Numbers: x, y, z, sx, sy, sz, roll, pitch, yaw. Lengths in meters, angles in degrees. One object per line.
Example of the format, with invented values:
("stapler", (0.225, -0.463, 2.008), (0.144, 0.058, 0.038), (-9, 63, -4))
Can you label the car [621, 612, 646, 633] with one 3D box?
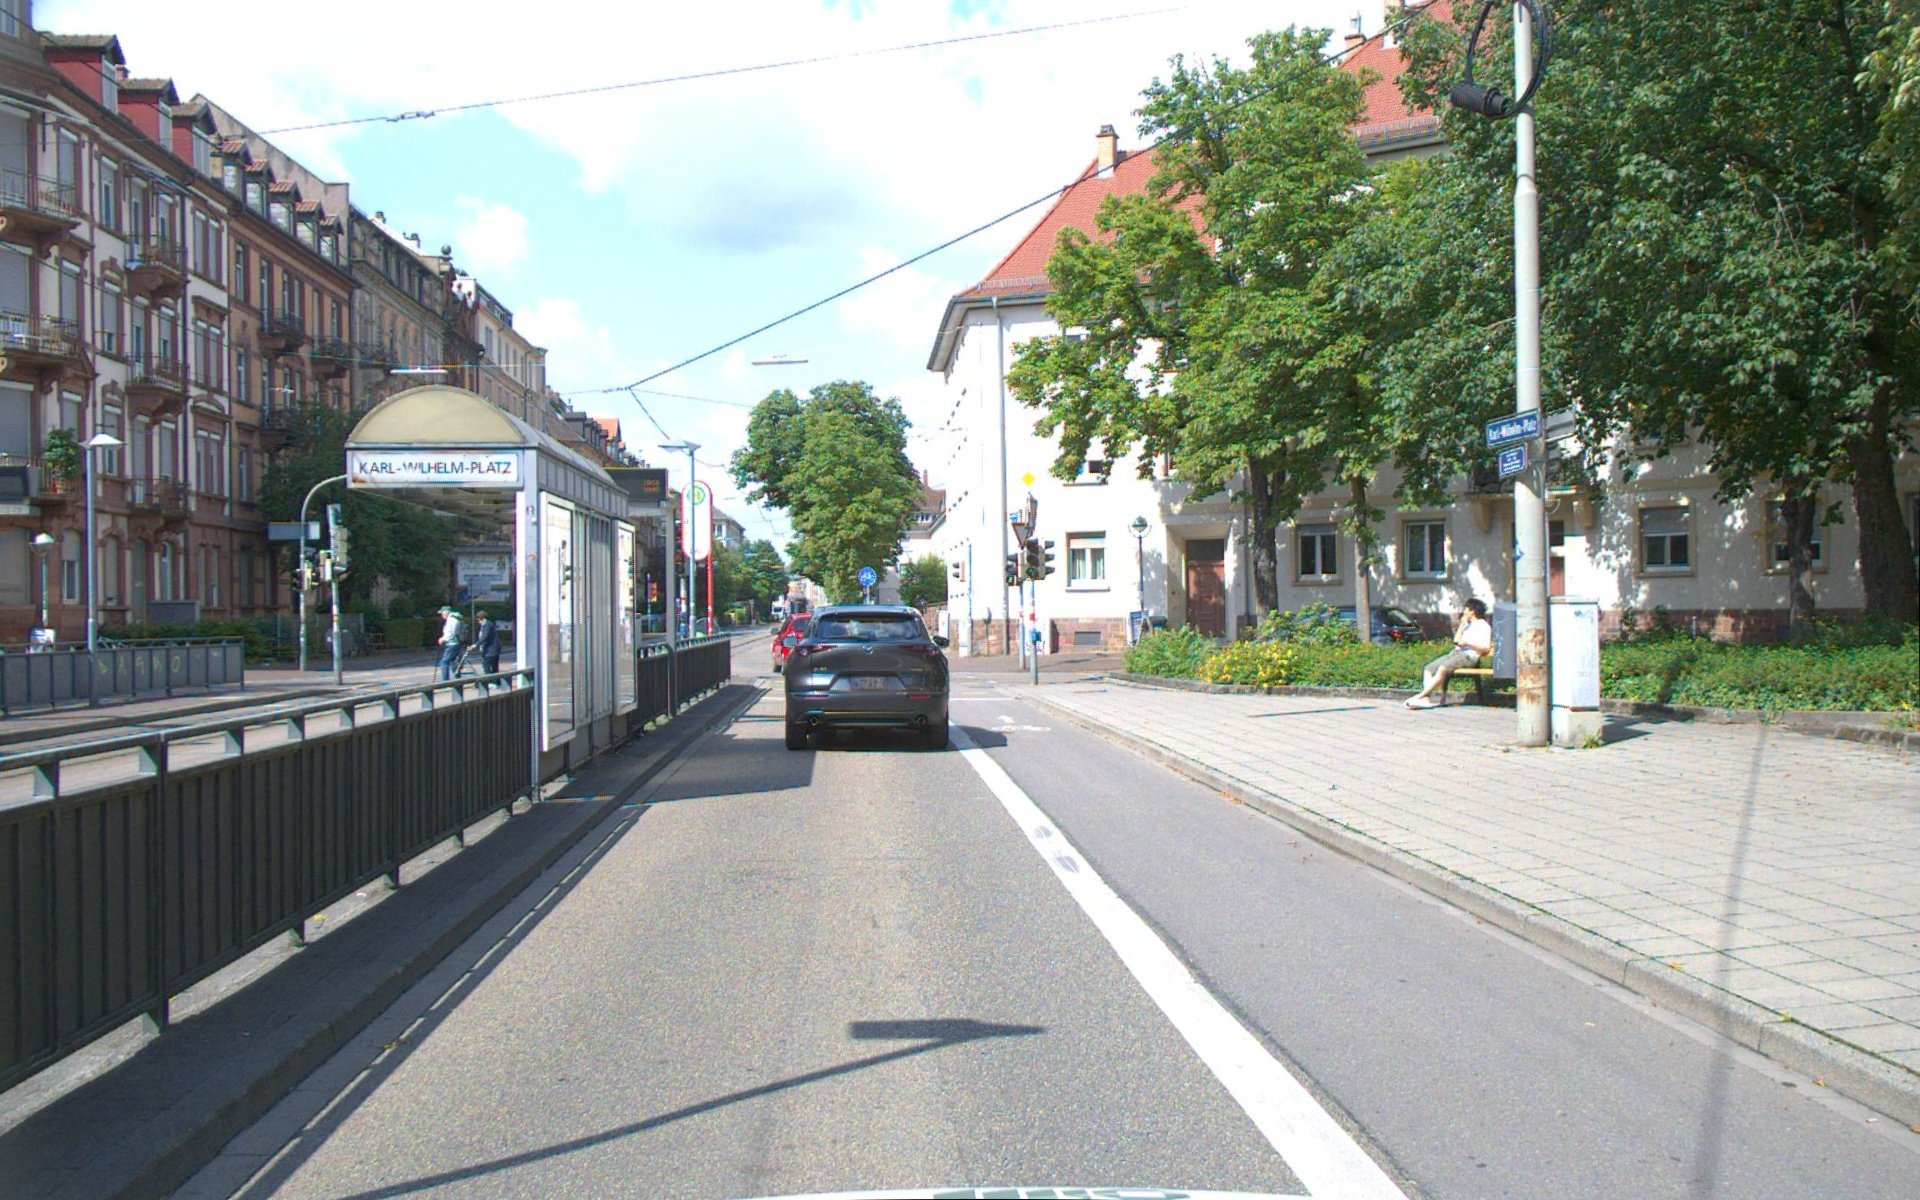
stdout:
("car", (-27.091, 1.856, 137.318), (1.624, 1.624, 3.926), (-1, 0, -5))

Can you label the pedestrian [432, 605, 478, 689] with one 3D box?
("pedestrian", (-10.378, 0.960, 34.016), (0.756, 1.704, 0.667), (-1, -1, -5))

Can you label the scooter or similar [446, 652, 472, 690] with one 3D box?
("scooter or similar", (-10.127, 1.430, 33.435), (0.406, 0.733, 0.486), (-1, 0, -5))

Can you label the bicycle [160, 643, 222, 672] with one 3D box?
("bicycle", (-22.441, 1.672, 48.278), (0.378, 0.760, 1.707), (-1, 0, 32))

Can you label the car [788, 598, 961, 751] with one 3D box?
("car", (-1.068, 0.789, 18.942), (1.748, 1.540, 3.995), (1, -1, -6))

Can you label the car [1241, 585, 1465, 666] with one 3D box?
("car", (8.073, 0.525, 34.114), (4.091, 1.536, 1.843), (-1, 1, 38))

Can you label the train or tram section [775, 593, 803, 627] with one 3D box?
("train or tram section", (-21.324, 1.345, 206.849), (2.938, 4.053, 13.795), (-1, -1, -4))

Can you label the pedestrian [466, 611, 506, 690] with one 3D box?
("pedestrian", (-9.598, 1.014, 33.473), (0.654, 1.573, 0.580), (-1, -1, -5))

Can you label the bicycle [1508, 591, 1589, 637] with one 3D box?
("bicycle", (13.742, 0.330, 38.652), (0.562, 1.037, 1.727), (-3, 1, -41))

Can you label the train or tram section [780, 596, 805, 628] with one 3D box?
("train or tram section", (-22.275, 1.683, 220.501), (2.938, 4.053, 13.795), (-1, -1, -4))

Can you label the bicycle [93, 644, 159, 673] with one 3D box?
("bicycle", (-23.469, 1.630, 46.564), (0.378, 0.760, 1.707), (-1, 0, 32))

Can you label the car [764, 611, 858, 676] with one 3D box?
("car", (-3.707, 1.032, 40.585), (1.745, 1.490, 3.828), (1, 0, -14))

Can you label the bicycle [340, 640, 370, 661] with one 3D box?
("bicycle", (-20.771, 1.716, 56.765), (0.377, 0.664, 1.711), (-1, 0, 0))

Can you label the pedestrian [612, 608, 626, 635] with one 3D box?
("pedestrian", (-22.488, 1.415, 109.196), (0.772, 1.718, 0.731), (-1, -1, -2))

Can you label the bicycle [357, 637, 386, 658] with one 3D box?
("bicycle", (-20.975, 1.689, 58.962), (0.377, 0.689, 1.711), (-1, 0, 0))

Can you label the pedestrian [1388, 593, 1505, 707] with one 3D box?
("pedestrian", (5.884, 0.597, 20.018), (1.170, 1.291, 0.557), (-3, 0, -9))
